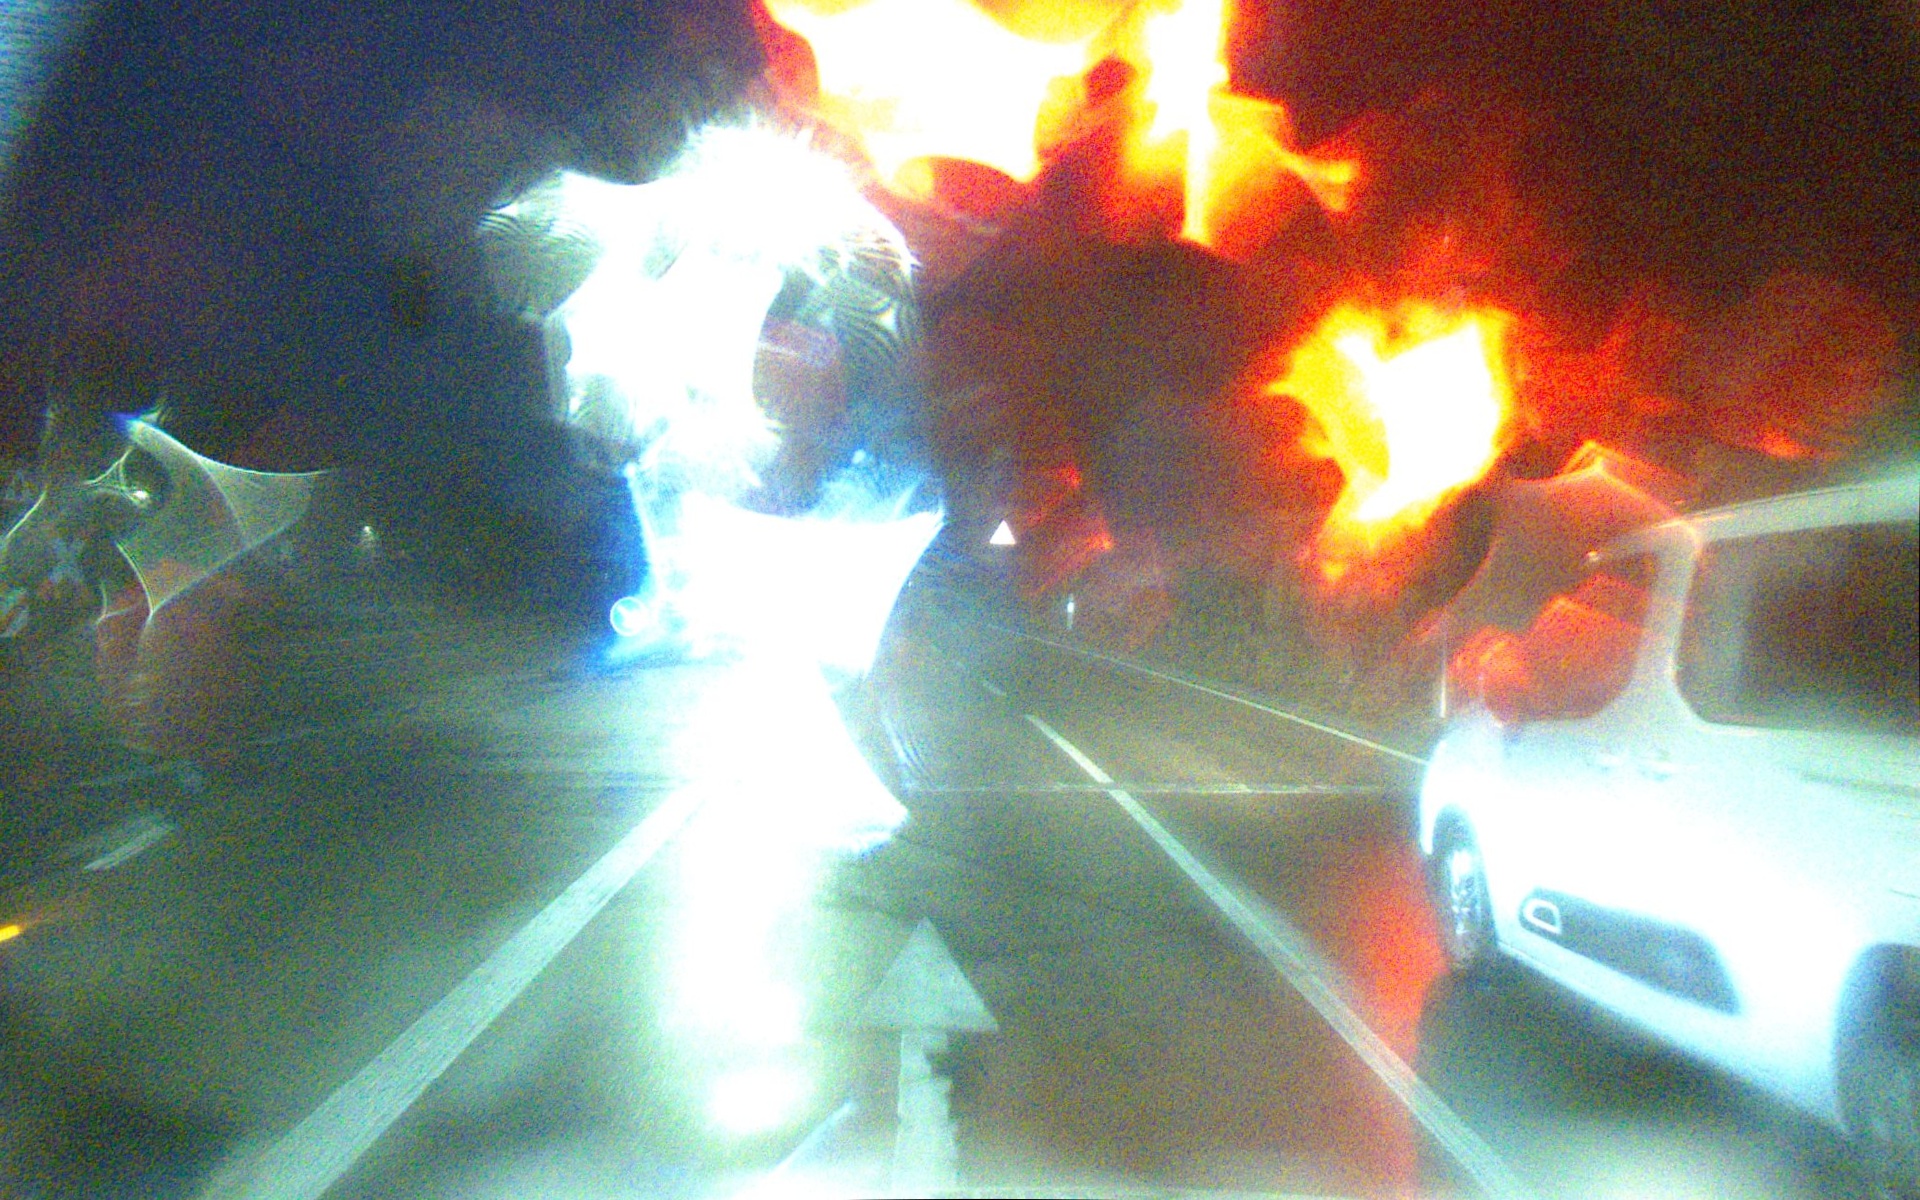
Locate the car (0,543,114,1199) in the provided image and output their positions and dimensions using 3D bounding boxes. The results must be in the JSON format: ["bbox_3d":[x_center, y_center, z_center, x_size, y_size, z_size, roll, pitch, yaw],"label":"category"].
[{"bbox_3d":[-2.766,0.672,1.469,1.747,1.537,4.436,0,0,0],"label":"car"}]

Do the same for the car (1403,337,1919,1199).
[{"bbox_3d":[2.867,0.471,4.881,1.755,2.057,4.578,1,0,-2],"label":"car"}]

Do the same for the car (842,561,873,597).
[{"bbox_3d":[-6.064,-1.231,97.847,1.756,2.057,4.576,1,0,-4],"label":"car"}]

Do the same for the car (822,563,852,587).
[{"bbox_3d":[-10.664,-2.158,143.376,1.952,1.746,4.001,5,-1,3],"label":"car"}]
